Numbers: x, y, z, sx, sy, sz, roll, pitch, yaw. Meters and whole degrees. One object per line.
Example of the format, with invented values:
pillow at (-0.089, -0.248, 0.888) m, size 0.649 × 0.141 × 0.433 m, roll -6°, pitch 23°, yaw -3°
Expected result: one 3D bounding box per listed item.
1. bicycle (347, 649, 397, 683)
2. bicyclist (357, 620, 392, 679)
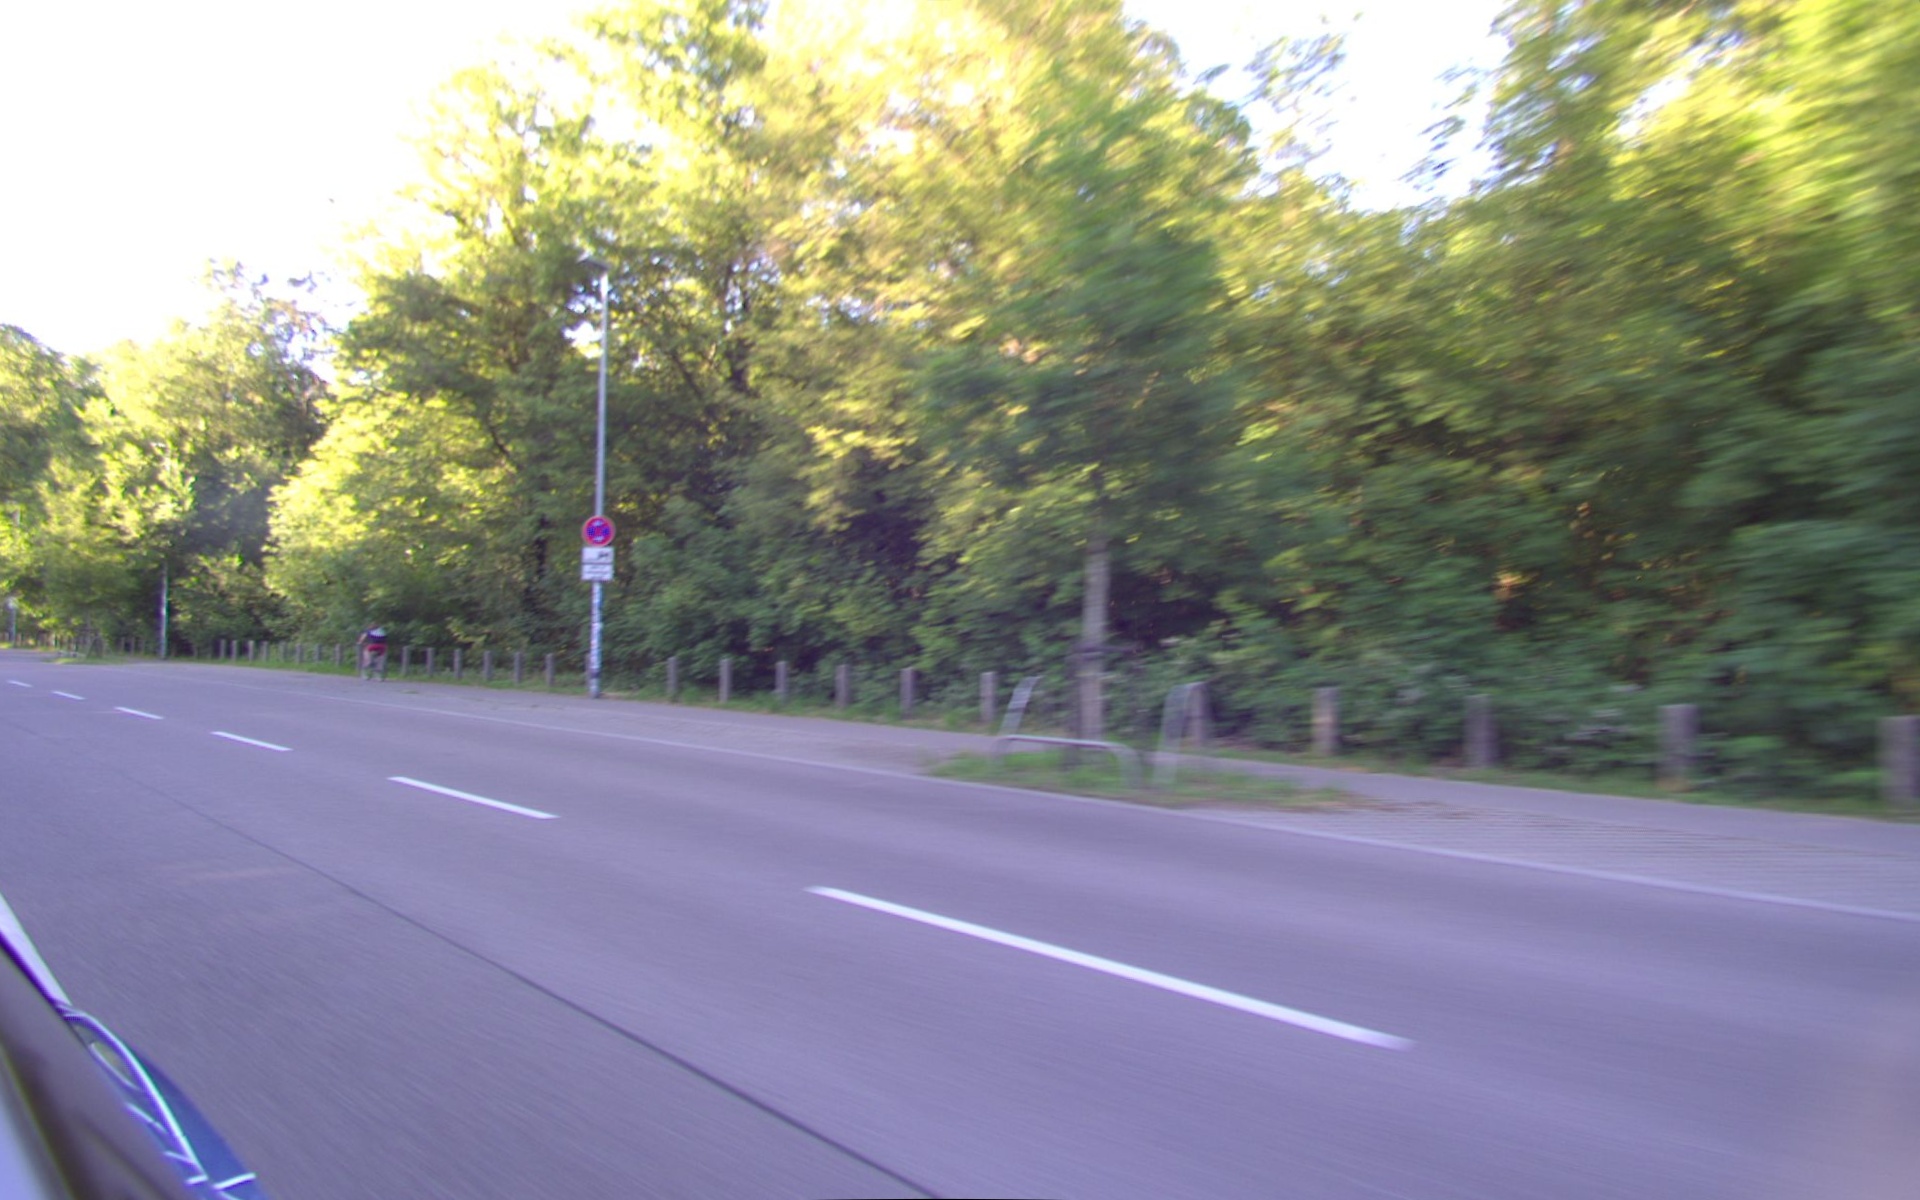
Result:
bicycle at (-15.079, 1.690, 25.954) m, size 1.806 × 0.820 × 0.490 m, roll -2°, pitch -5°, yaw 40°
bicyclist at (-14.978, 1.261, 25.883) m, size 0.760 × 1.495 × 0.494 m, roll -2°, pitch -4°, yaw 40°
